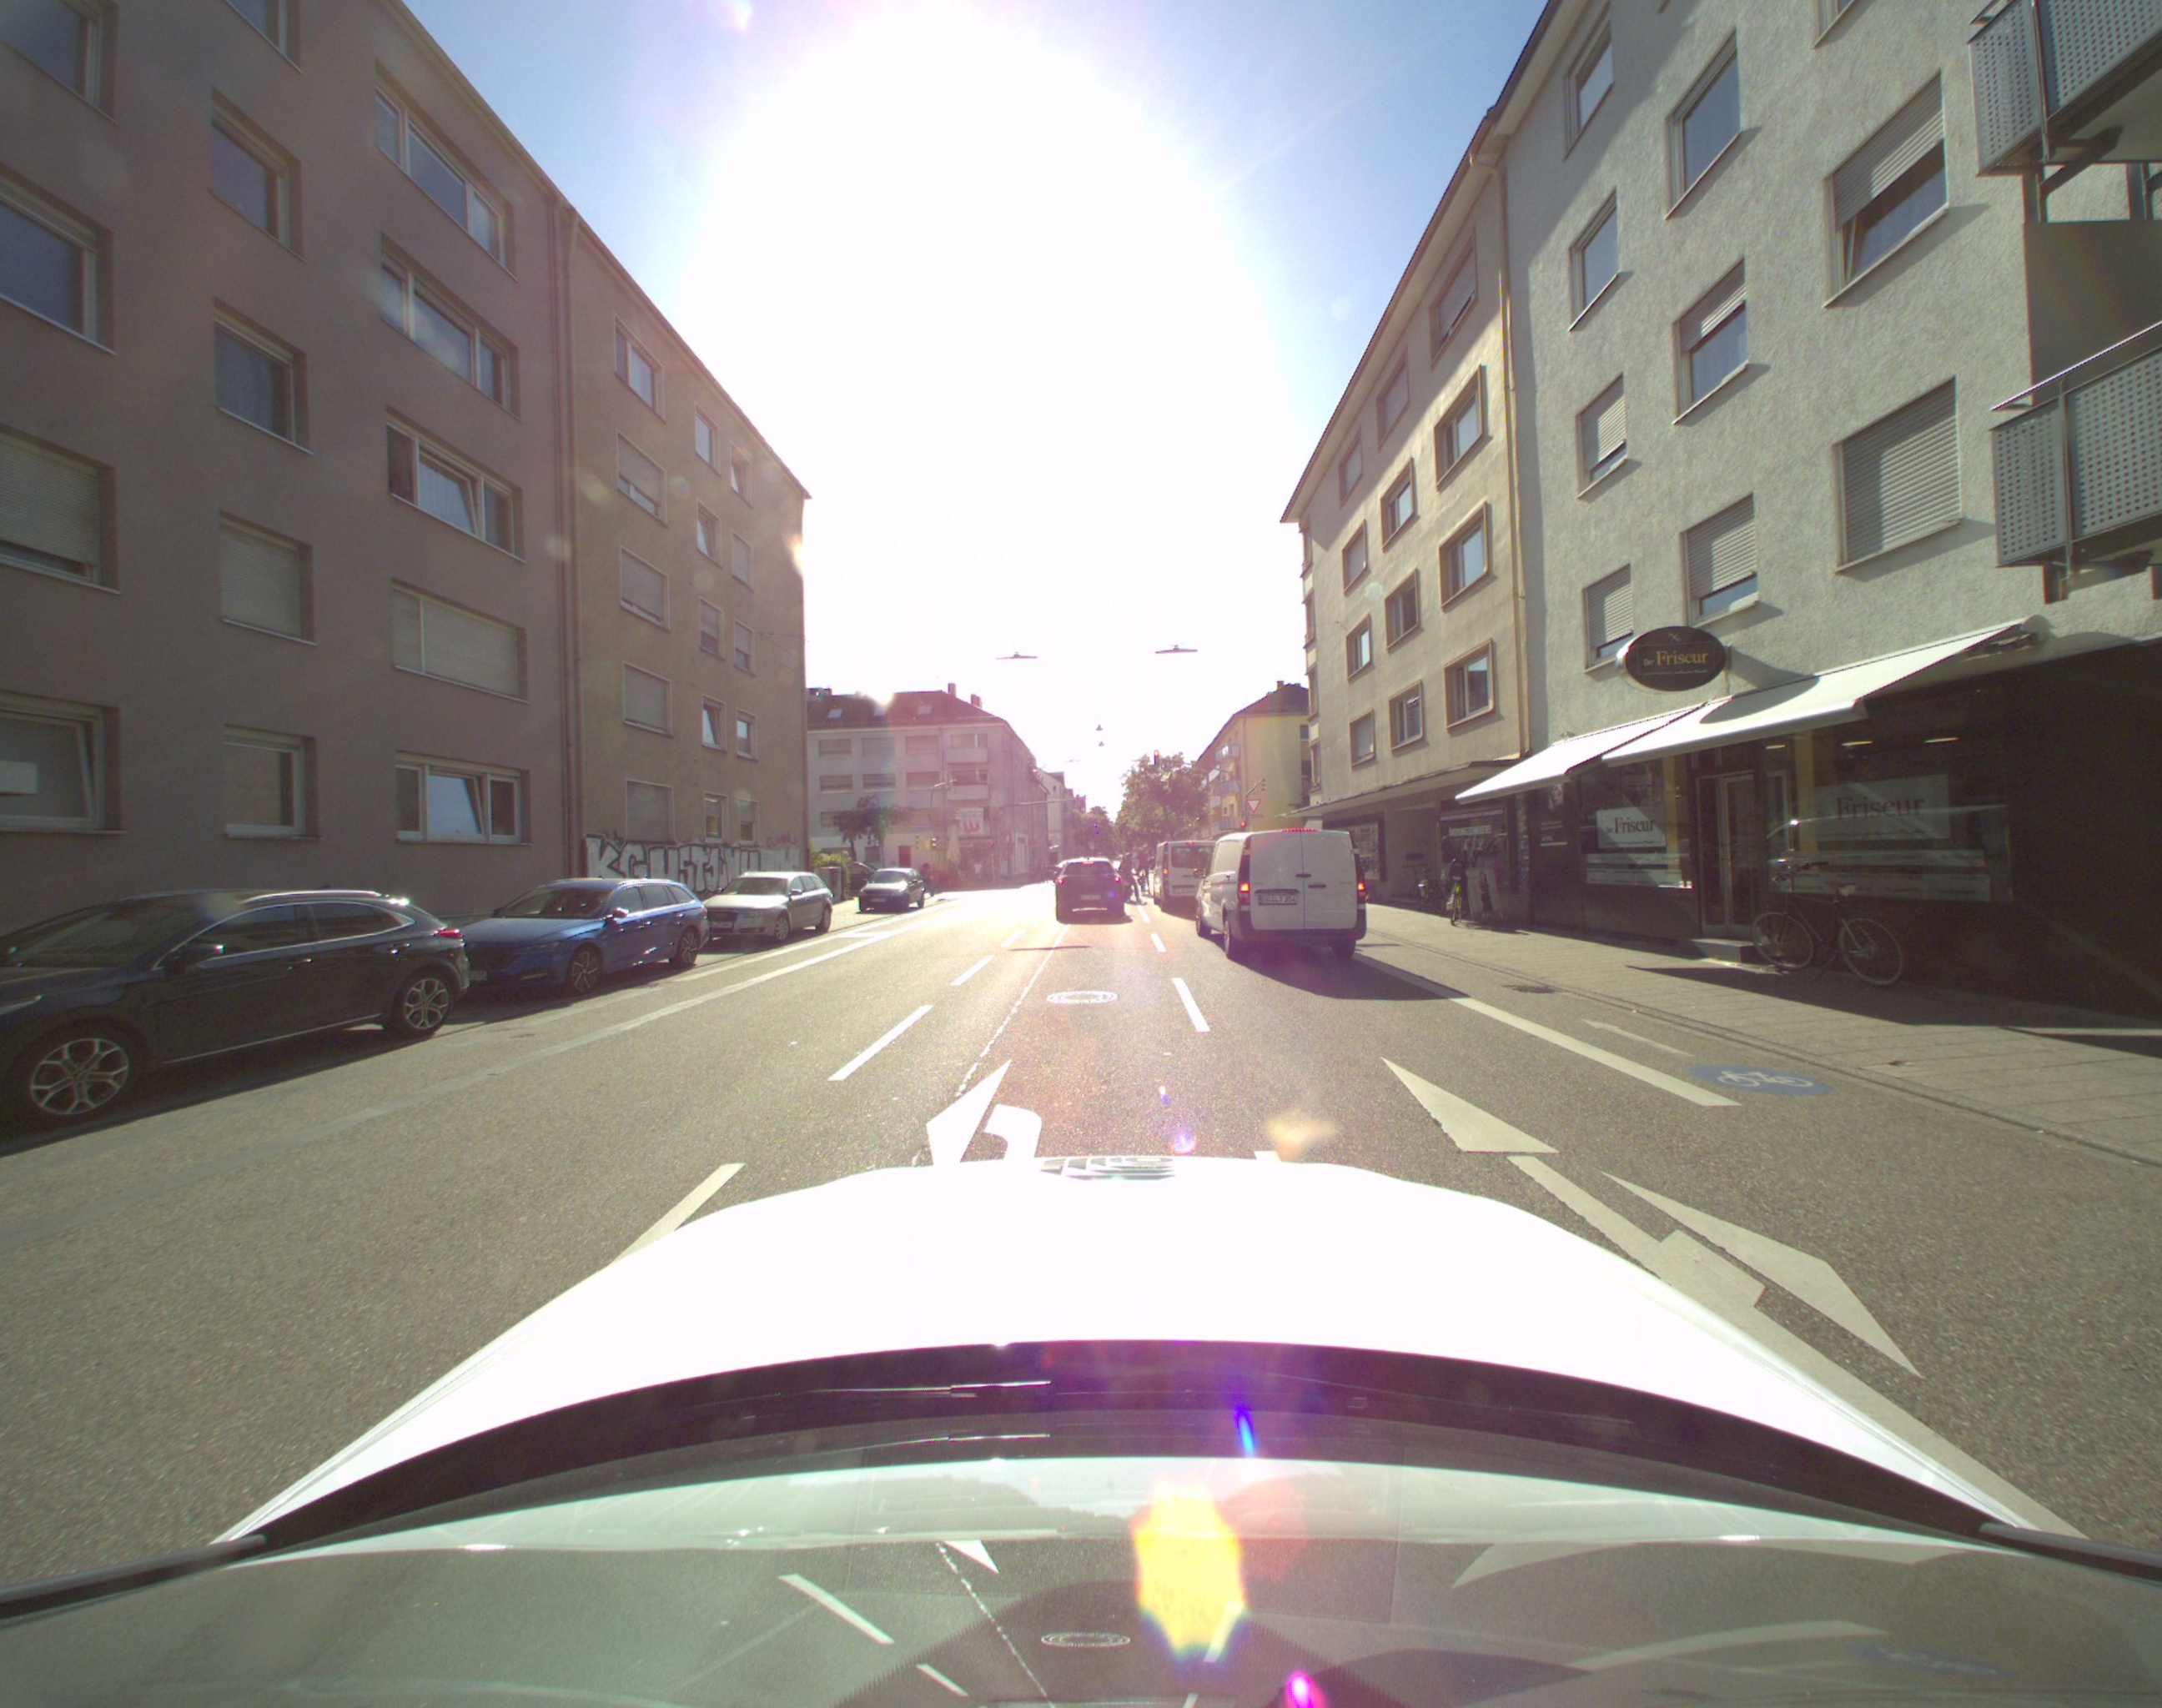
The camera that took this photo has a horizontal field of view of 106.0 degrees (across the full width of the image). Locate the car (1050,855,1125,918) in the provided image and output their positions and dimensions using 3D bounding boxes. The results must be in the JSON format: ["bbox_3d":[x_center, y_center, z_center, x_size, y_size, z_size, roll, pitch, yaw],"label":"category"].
[{"bbox_3d":[0.194,0.822,22.161,1.838,1.508,4.000,-2,-1,1],"label":"car"}]

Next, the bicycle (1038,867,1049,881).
[{"bbox_3d":[-2.720,1.488,59.682,0.532,1.005,1.113,-2,-1,10],"label":"bicycle"}]

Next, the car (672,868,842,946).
[{"bbox_3d":[-7.023,1.073,18.289,1.770,1.469,4.761,1,-1,1],"label":"car"}]

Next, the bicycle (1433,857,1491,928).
[{"bbox_3d":[7.291,0.710,15.627,0.473,1.274,1.218,-5,-1,1],"label":"bicycle"}]

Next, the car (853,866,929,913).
[{"bbox_3d":[-6.594,1.195,28.673,1.647,1.479,4.000,0,-1,1],"label":"car"}]

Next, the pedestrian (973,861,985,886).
[{"bbox_3d":[-6.833,1.294,54.501,0.681,1.663,0.601,-2,-1,0],"label":"pedestrian"}]

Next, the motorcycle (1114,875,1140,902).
[{"bbox_3d":[1.576,1.169,28.021,0.804,0.863,1.823,1,-1,1],"label":"motorcycle"}]

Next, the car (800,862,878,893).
[{"bbox_3d":[-13.771,1.315,46.439,3.976,1.626,1.543,-2,-1,-2],"label":"car"}]

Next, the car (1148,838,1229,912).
[{"bbox_3d":[3.063,0.586,24.141,1.809,1.921,4.644,-2,-1,1],"label":"car"}]

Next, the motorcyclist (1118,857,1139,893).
[{"bbox_3d":[1.636,0.716,28.069,0.656,1.227,0.694,-2,-1,0],"label":"motorcyclist"}]

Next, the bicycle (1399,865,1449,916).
[{"bbox_3d":[7.916,0.827,18.859,0.521,1.118,1.534,-1,0,2],"label":"bicycle"}]

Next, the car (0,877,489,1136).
[{"bbox_3d":[-7.661,1.016,6.876,1.985,1.497,4.232,1,0,4],"label":"car"}]

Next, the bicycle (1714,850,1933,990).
[{"bbox_3d":[7.544,0.615,8.419,0.546,1.269,1.884,-2,-1,2],"label":"bicycle"}]

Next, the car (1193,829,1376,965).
[{"bbox_3d":[3.087,0.602,13.396,1.977,1.822,4.548,-1,-1,2],"label":"car"}]

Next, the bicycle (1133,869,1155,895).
[{"bbox_3d":[2.570,1.119,33.392,0.772,0.992,1.717,-2,-1,1],"label":"bicycle"}]

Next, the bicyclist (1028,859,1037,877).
[{"bbox_3d":[-3.565,1.026,59.862,0.542,1.381,0.522,0,-1,10],"label":"bicyclist"}]

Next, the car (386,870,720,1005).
[{"bbox_3d":[-7.278,1.028,11.954,1.714,1.497,4.628,1,0,2],"label":"car"}]

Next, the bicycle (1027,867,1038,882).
[{"bbox_3d":[-3.575,1.484,59.774,0.561,1.085,1.106,-2,-1,9],"label":"bicycle"}]

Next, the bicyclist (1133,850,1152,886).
[{"bbox_3d":[2.544,0.565,33.493,0.681,1.449,0.940,-2,-1,1],"label":"bicyclist"}]

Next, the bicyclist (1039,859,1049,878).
[{"bbox_3d":[-2.727,1.080,59.708,0.566,1.370,0.585,-2,-2,10],"label":"bicyclist"}]

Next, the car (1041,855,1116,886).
[{"bbox_3d":[-0.120,0.973,48.438,4.019,1.640,1.977,-1,-1,-38],"label":"car"}]

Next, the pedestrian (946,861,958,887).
[{"bbox_3d":[-8.493,1.297,53.670,0.681,1.663,0.601,-2,-1,0],"label":"pedestrian"}]
